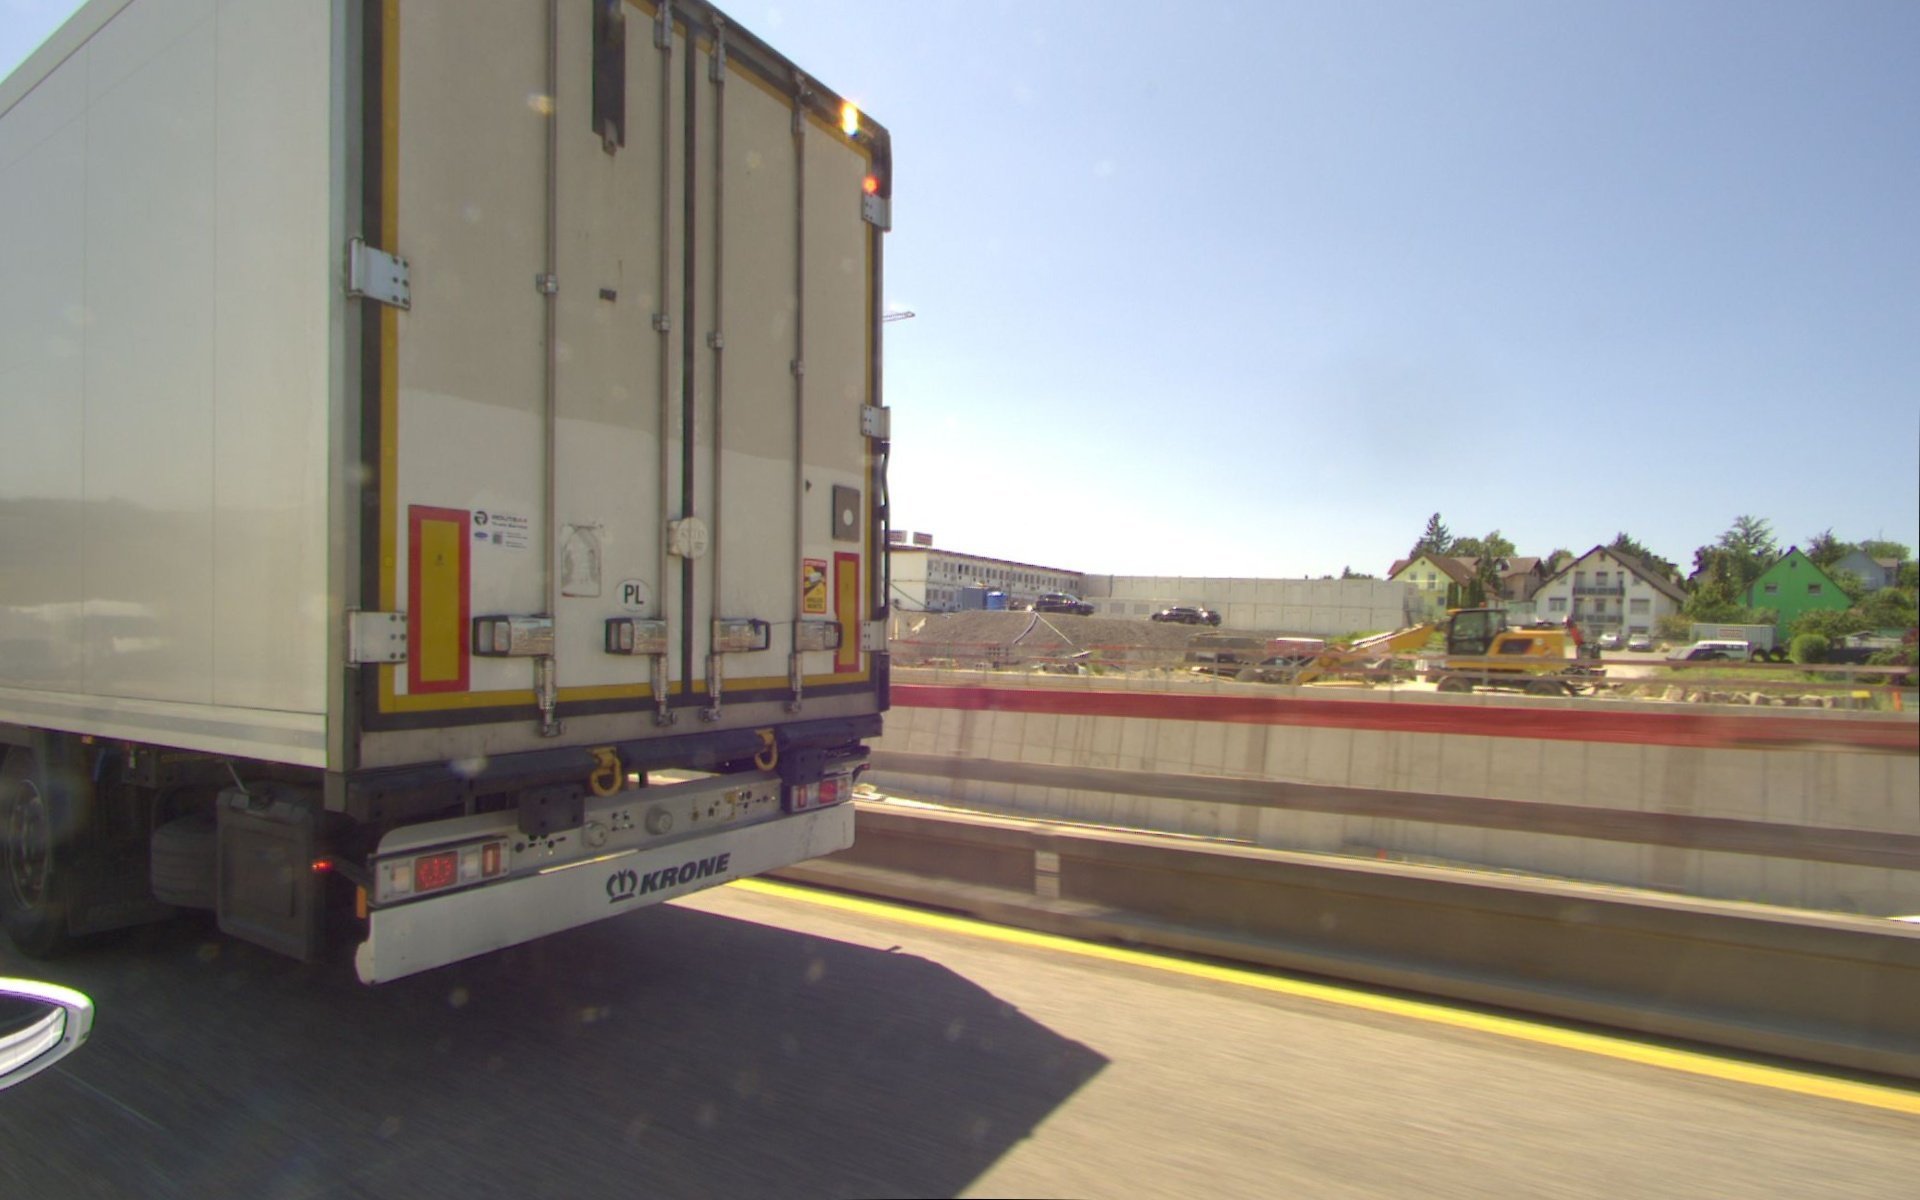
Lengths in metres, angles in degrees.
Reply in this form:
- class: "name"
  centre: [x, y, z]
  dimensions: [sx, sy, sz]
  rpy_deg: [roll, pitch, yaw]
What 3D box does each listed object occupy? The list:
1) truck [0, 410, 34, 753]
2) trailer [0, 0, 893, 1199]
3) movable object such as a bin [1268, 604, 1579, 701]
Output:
- class: "truck"
  centre: [-14.100, -0.224, 12.397]
  dimensions: [4.836, 4.110, 2.771]
  rpy_deg: [-1, -1, 33]
- class: "trailer"
  centre: [-6.894, -0.360, 7.632]
  dimensions: [13.919, 4.110, 2.796]
  rpy_deg: [-1, -2, 33]
- class: "movable object such as a bin"
  centre: [15.579, 1.677, 34.141]
  dimensions: [9.341, 2.946, 2.884]
  rpy_deg: [-1, -2, 32]
